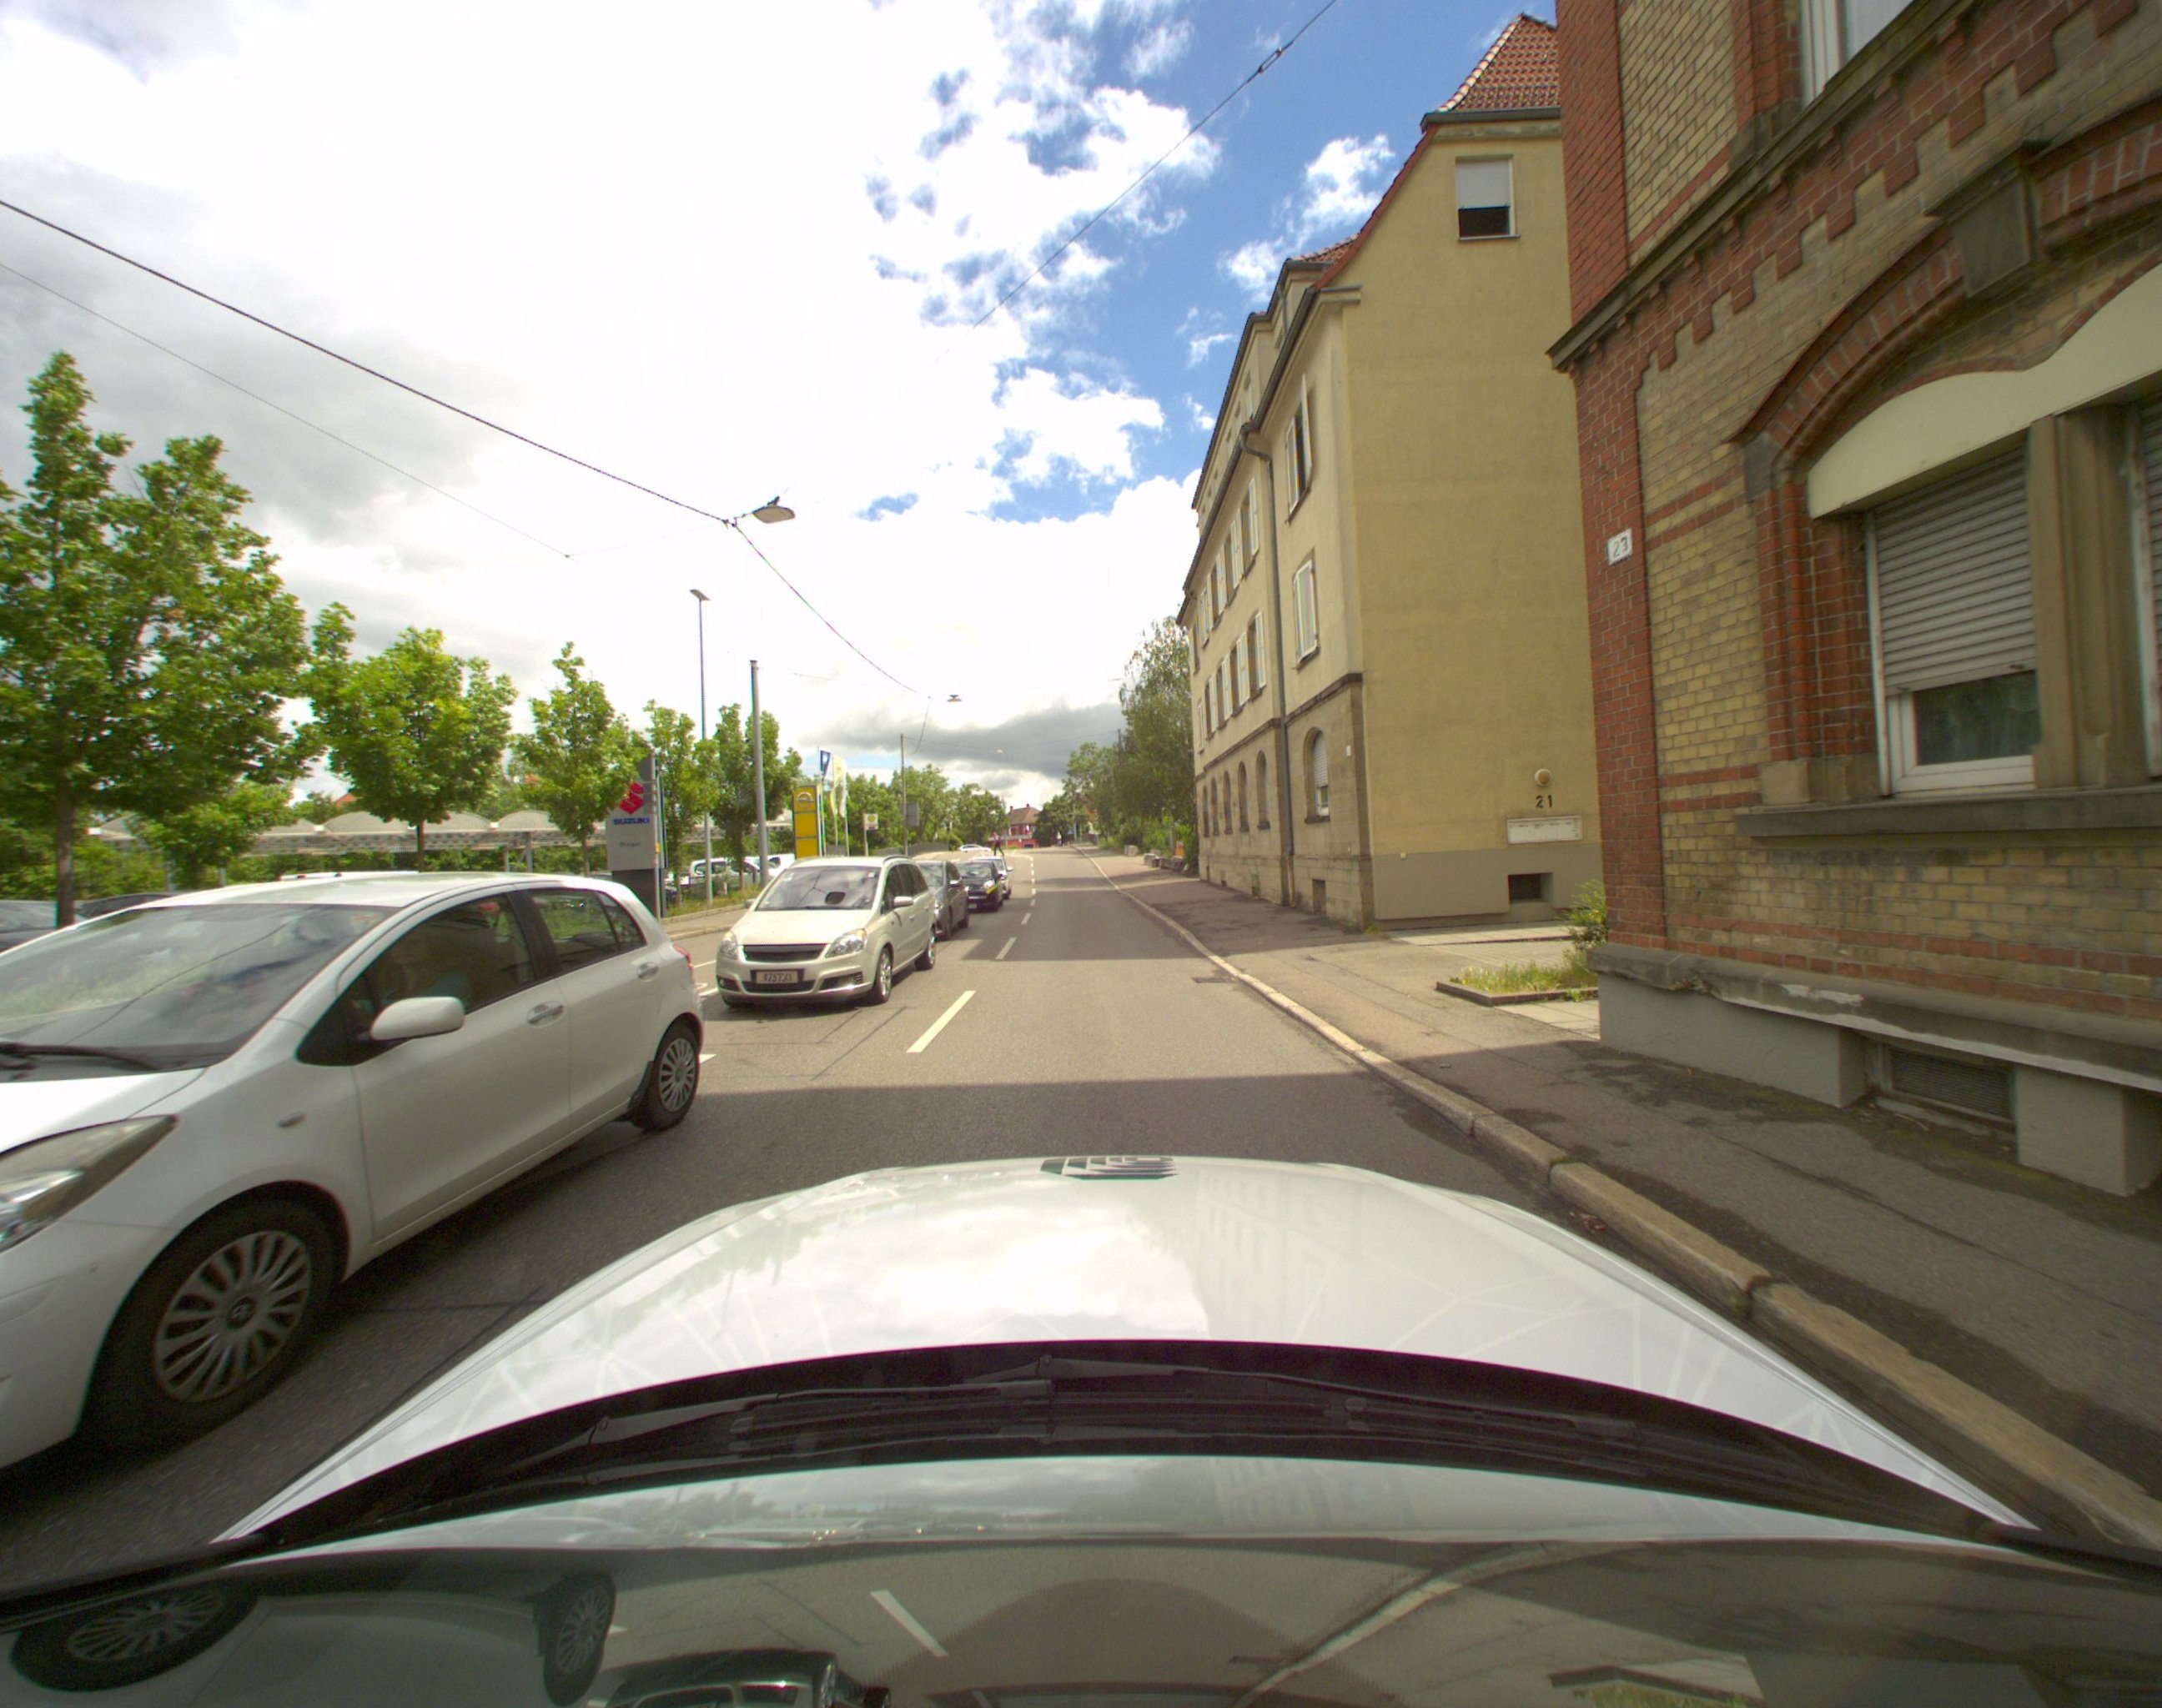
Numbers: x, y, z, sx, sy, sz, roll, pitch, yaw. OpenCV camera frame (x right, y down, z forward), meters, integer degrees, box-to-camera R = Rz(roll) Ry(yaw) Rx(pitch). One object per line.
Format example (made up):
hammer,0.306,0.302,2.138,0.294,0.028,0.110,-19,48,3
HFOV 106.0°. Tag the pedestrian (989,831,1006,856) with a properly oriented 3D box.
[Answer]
pedestrian,-6.453,-0.822,62.829,1.026,1.836,1.003,-1,1,12

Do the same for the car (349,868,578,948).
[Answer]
car,-14.471,1.238,19.281,3.840,1.497,1.810,-3,1,-4

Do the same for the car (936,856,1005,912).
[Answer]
car,-3.145,0.834,23.733,1.715,1.484,3.318,-1,-1,-3

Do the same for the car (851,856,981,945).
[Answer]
car,-3.272,0.864,16.979,1.713,1.581,4.252,-1,-1,1

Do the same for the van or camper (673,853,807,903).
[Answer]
van or camper,-14.116,0.977,33.899,4.650,1.749,2.001,-3,1,2

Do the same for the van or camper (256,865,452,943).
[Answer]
van or camper,-22.770,1.469,25.835,1.989,2.013,4.682,-3,1,-2

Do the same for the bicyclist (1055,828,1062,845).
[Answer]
bicyclist,-2.482,-1.949,91.216,0.682,1.826,1.080,-2,-4,1

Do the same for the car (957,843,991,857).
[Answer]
car,-14.676,-0.550,111.411,4.422,1.831,1.991,0,-1,-13

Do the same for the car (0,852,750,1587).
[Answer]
car,-3.151,0.813,3.511,1.713,1.581,4.001,-1,-1,1

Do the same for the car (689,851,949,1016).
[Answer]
car,-2.897,0.789,10.081,1.713,1.581,4.319,-1,-1,1

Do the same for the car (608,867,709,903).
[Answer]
car,-20.589,1.463,39.734,4.021,1.466,1.796,-3,0,-40

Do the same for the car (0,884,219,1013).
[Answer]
car,-15.019,1.336,11.266,4.044,1.497,1.811,-3,1,-2

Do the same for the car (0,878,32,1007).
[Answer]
car,-14.796,1.179,8.814,4.268,1.497,1.811,-3,1,-2

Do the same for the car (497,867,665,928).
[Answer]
car,-14.954,1.263,24.528,3.827,1.461,1.770,-4,1,-5

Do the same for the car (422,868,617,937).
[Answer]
car,-14.983,1.258,21.913,3.808,1.497,1.809,-4,1,-6

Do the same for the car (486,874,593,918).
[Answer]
car,-19.165,1.453,28.996,1.537,1.253,3.471,-3,1,-3

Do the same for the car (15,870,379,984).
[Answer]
car,-14.791,1.173,13.834,3.971,1.497,1.811,-3,1,-2

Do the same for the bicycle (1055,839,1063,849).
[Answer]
bicycle,-2.454,-1.118,91.205,0.685,0.878,2.102,-2,-4,2

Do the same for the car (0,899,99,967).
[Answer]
car,-25.270,1.875,18.714,3.308,1.373,1.516,-3,1,-3

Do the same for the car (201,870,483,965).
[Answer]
car,-14.699,1.226,16.388,3.817,1.497,1.811,-3,1,-2

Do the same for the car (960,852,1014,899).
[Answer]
car,-3.372,0.758,29.816,1.715,1.581,3.995,-1,-1,-3

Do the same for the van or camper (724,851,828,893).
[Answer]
van or camper,-16.122,0.904,43.292,1.965,1.963,4.990,-1,1,30
